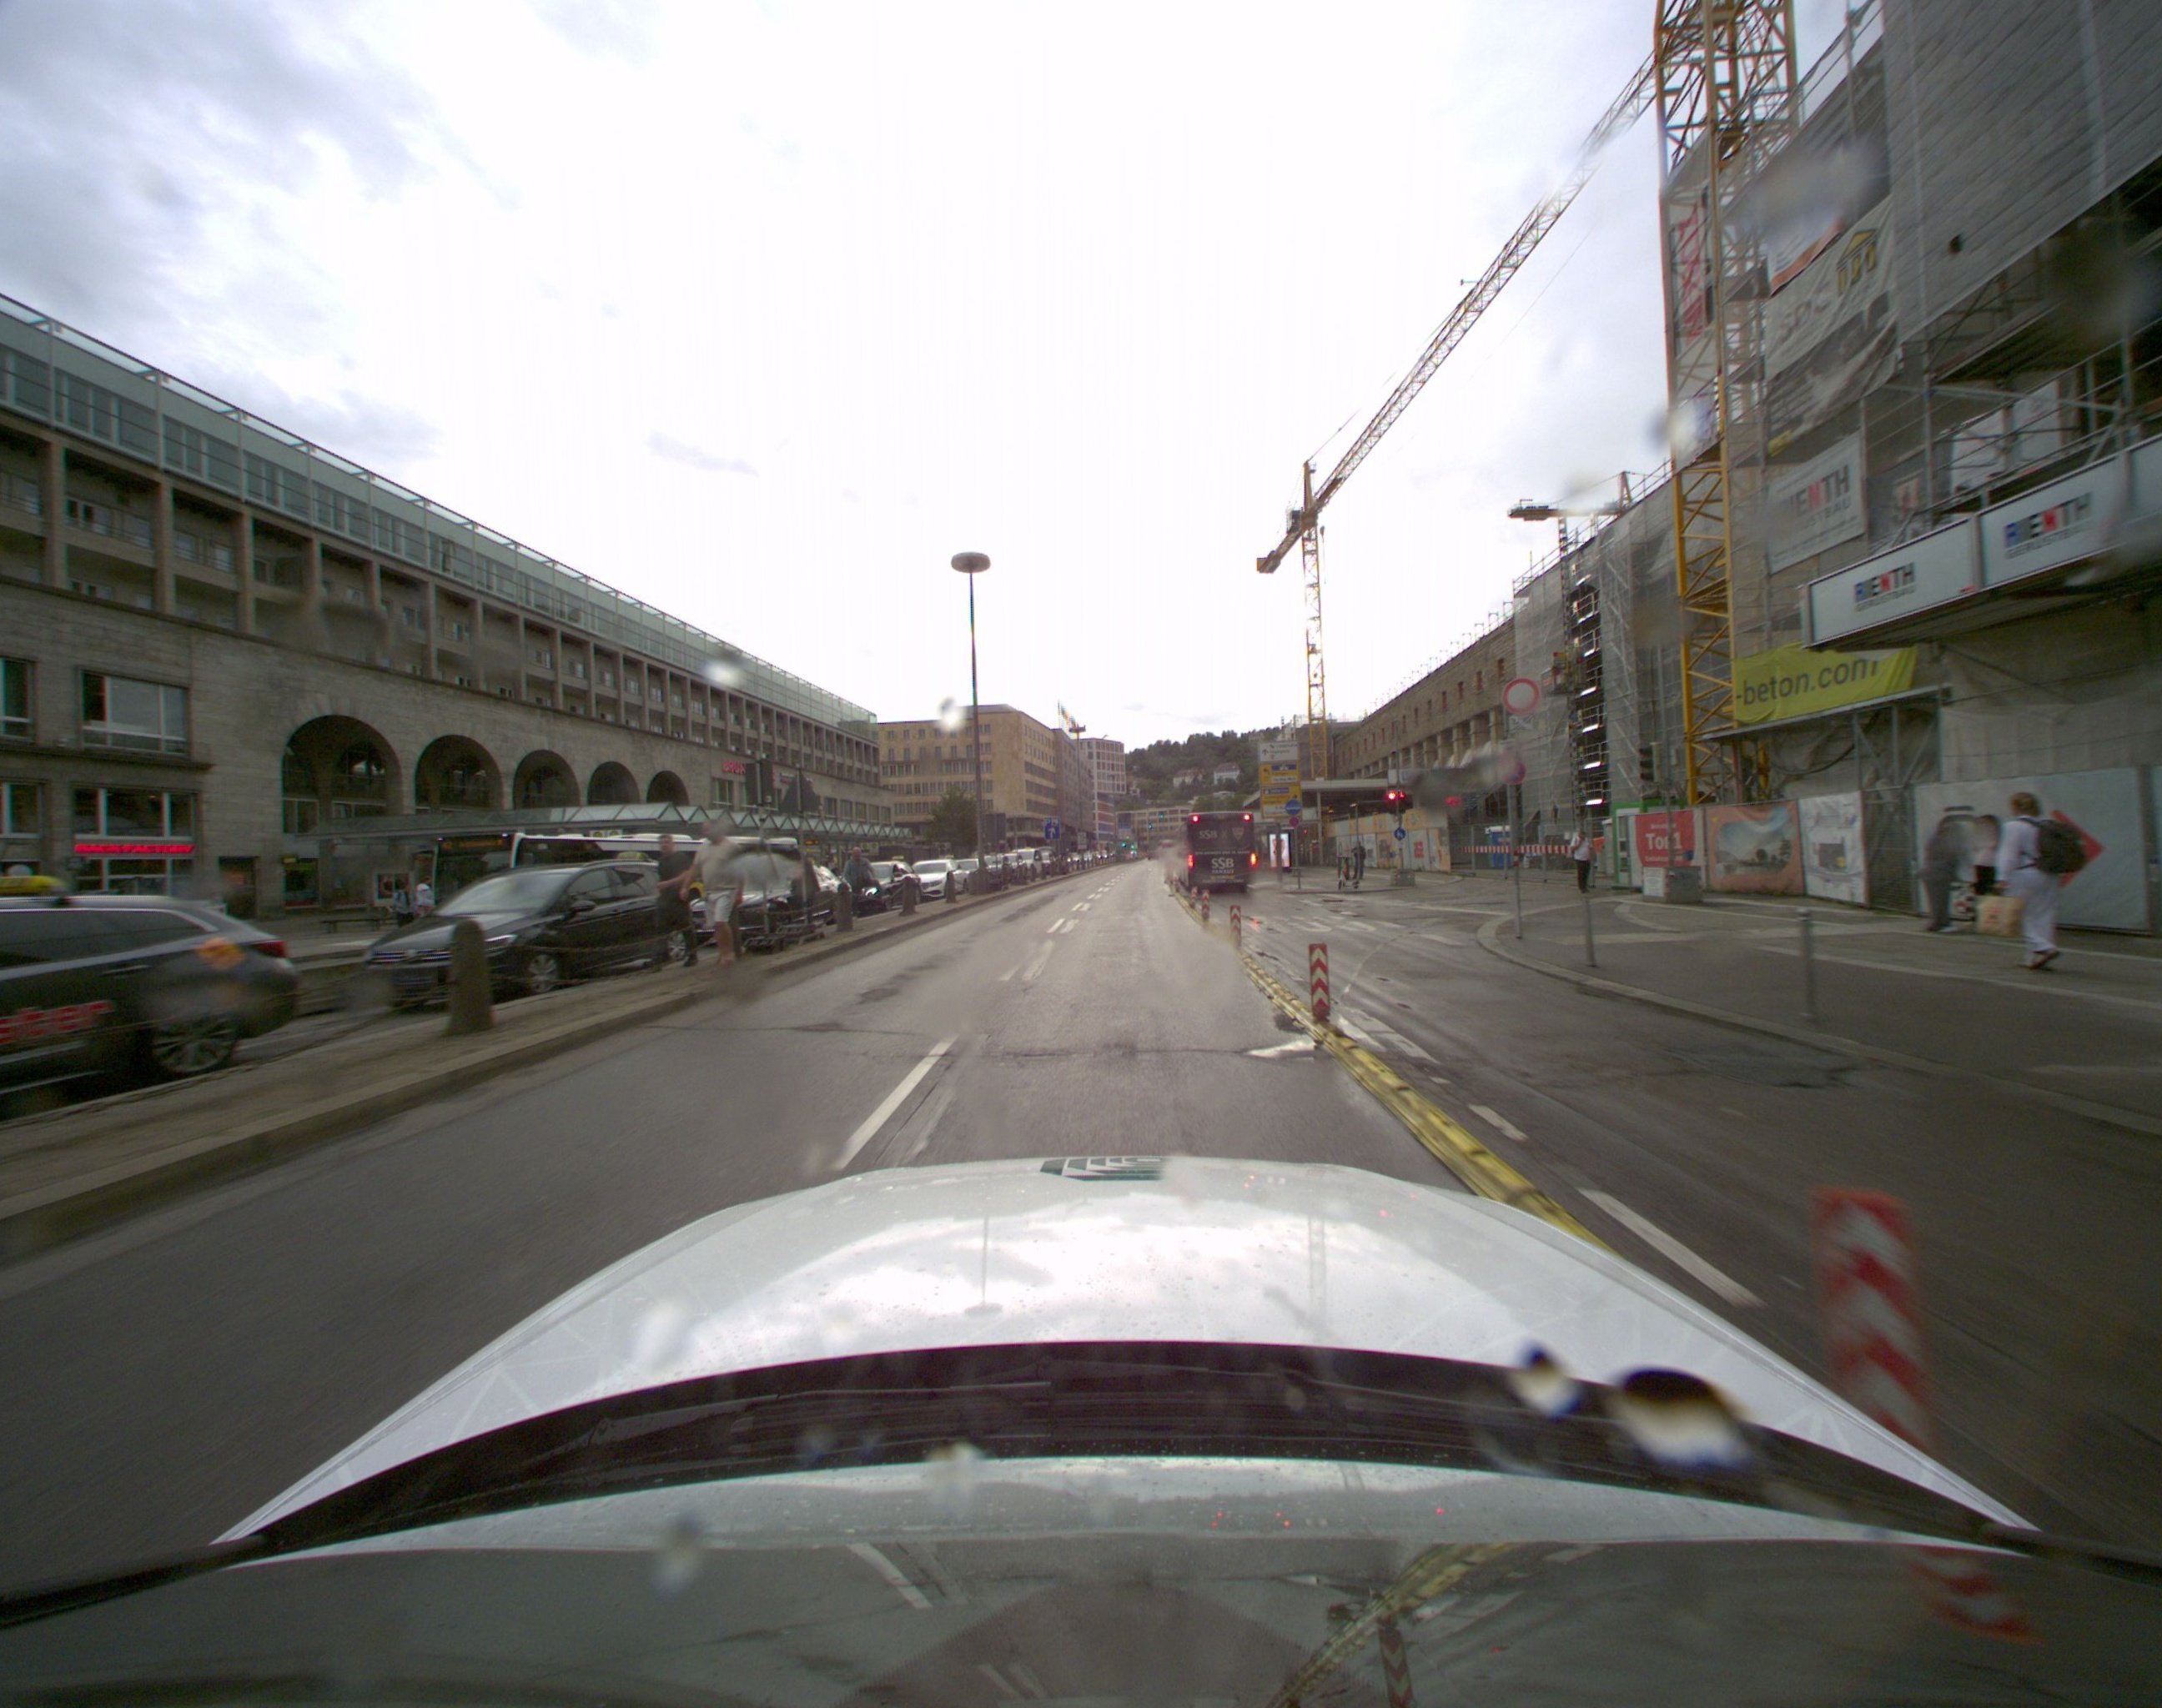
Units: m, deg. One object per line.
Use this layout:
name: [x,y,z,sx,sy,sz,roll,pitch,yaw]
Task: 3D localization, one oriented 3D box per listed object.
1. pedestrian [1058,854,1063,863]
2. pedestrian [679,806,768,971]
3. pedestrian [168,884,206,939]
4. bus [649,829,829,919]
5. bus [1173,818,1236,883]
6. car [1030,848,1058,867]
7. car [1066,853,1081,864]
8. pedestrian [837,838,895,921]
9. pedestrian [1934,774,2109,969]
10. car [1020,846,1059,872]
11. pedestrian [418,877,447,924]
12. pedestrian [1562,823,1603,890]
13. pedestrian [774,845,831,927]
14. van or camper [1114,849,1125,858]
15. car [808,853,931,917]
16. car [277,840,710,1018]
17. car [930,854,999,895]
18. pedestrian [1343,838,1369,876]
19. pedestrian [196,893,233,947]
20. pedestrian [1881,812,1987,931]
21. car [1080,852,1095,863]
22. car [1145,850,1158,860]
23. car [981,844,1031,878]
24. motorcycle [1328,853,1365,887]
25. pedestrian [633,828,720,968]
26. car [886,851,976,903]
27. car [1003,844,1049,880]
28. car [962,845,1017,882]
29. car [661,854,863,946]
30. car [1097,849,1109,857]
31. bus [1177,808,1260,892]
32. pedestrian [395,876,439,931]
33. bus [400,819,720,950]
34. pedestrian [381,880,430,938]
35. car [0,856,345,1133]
pedestrian: [-4.001,0.861,156.734,0.717,1.557,0.897,-3,0,9]
pedestrian: [-4.524,0.420,10.344,0.719,2.007,0.773,-1,0,4]
pedestrian: [-33.737,2.170,30.750,0.573,2.013,0.709,-3,0,3]
bus: [-15.142,0.757,37.376,2.863,3.459,10.589,-2,0,5]
bus: [6.438,-0.138,43.578,2.742,3.066,9.006,-1,0,5]
car: [-3.171,0.288,71.087,1.986,1.552,4.002,-3,0,2]
car: [-1.202,0.731,135.708,1.953,1.564,4.842,-4,0,5]
pedestrian: [-4.766,0.553,18.089,1.046,1.768,0.617,-2,-1,3]
pedestrian: [9.604,0.171,8.354,0.719,1.847,0.811,-5,0,4]
car: [-2.908,0.336,58.642,1.983,1.722,4.790,-3,0,6]
pedestrian: [-21.254,1.513,26.694,0.586,1.507,0.621,-1,0,-25]
pedestrian: [14.462,0.069,23.508,0.642,1.847,0.659,-5,0,4]
pedestrian: [-5.584,0.620,16.395,0.719,1.606,0.997,-1,0,4]
van or camper: [8.969,-0.083,188.601,1.982,2.013,5.201,-2,0,8]
car: [-6.083,0.832,24.111,1.921,1.576,5.017,-4,0,4]
car: [-7.048,0.768,10.608,1.921,1.690,4.687,-4,0,4]
car: [-5.073,0.856,36.171,1.921,1.576,5.057,-4,0,4]
pedestrian: [12.354,0.127,36.549,0.898,1.635,0.833,-2,0,32]
pedestrian: [-33.558,2.534,31.549,0.573,2.013,0.709,-3,0,3]
pedestrian: [11.696,0.234,11.192,0.648,1.539,0.666,-5,0,5]
car: [1.034,0.529,127.895,1.953,1.564,4.842,-4,0,5]
car: [12.293,0.154,141.442,1.983,1.552,4.007,-3,0,6]
car: [-4.313,0.384,47.567,1.920,1.806,4.589,-4,0,6]
motorcycle: [9.355,0.559,28.714,0.579,1.166,1.627,-1,0,43]
pedestrian: [-5.293,0.553,10.695,0.695,1.754,0.712,-2,0,4]
car: [-5.447,0.795,30.387,1.968,1.659,5.198,-4,0,4]
car: [-3.536,0.466,53.113,1.983,2.178,5.553,-3,0,6]
car: [-4.689,0.451,42.488,1.921,1.699,4.890,-4,0,4]
car: [-6.641,0.860,17.753,1.921,1.576,5.267,-4,0,4]
car: [4.887,-0.133,179.344,1.982,1.617,4.990,-3,0,8]
bus: [5.614,-0.130,34.544,2.742,3.068,9.093,-1,0,5]
pedestrian: [-20.127,1.481,24.703,0.656,1.613,0.739,-2,0,0]
bus: [-16.131,0.778,26.807,2.863,3.376,10.589,-2,0,5]
pedestrian: [-18.908,1.529,22.815,0.735,1.535,0.741,-2,0,-5]
car: [-7.595,0.917,4.822,1.921,1.690,4.687,-4,0,4]
